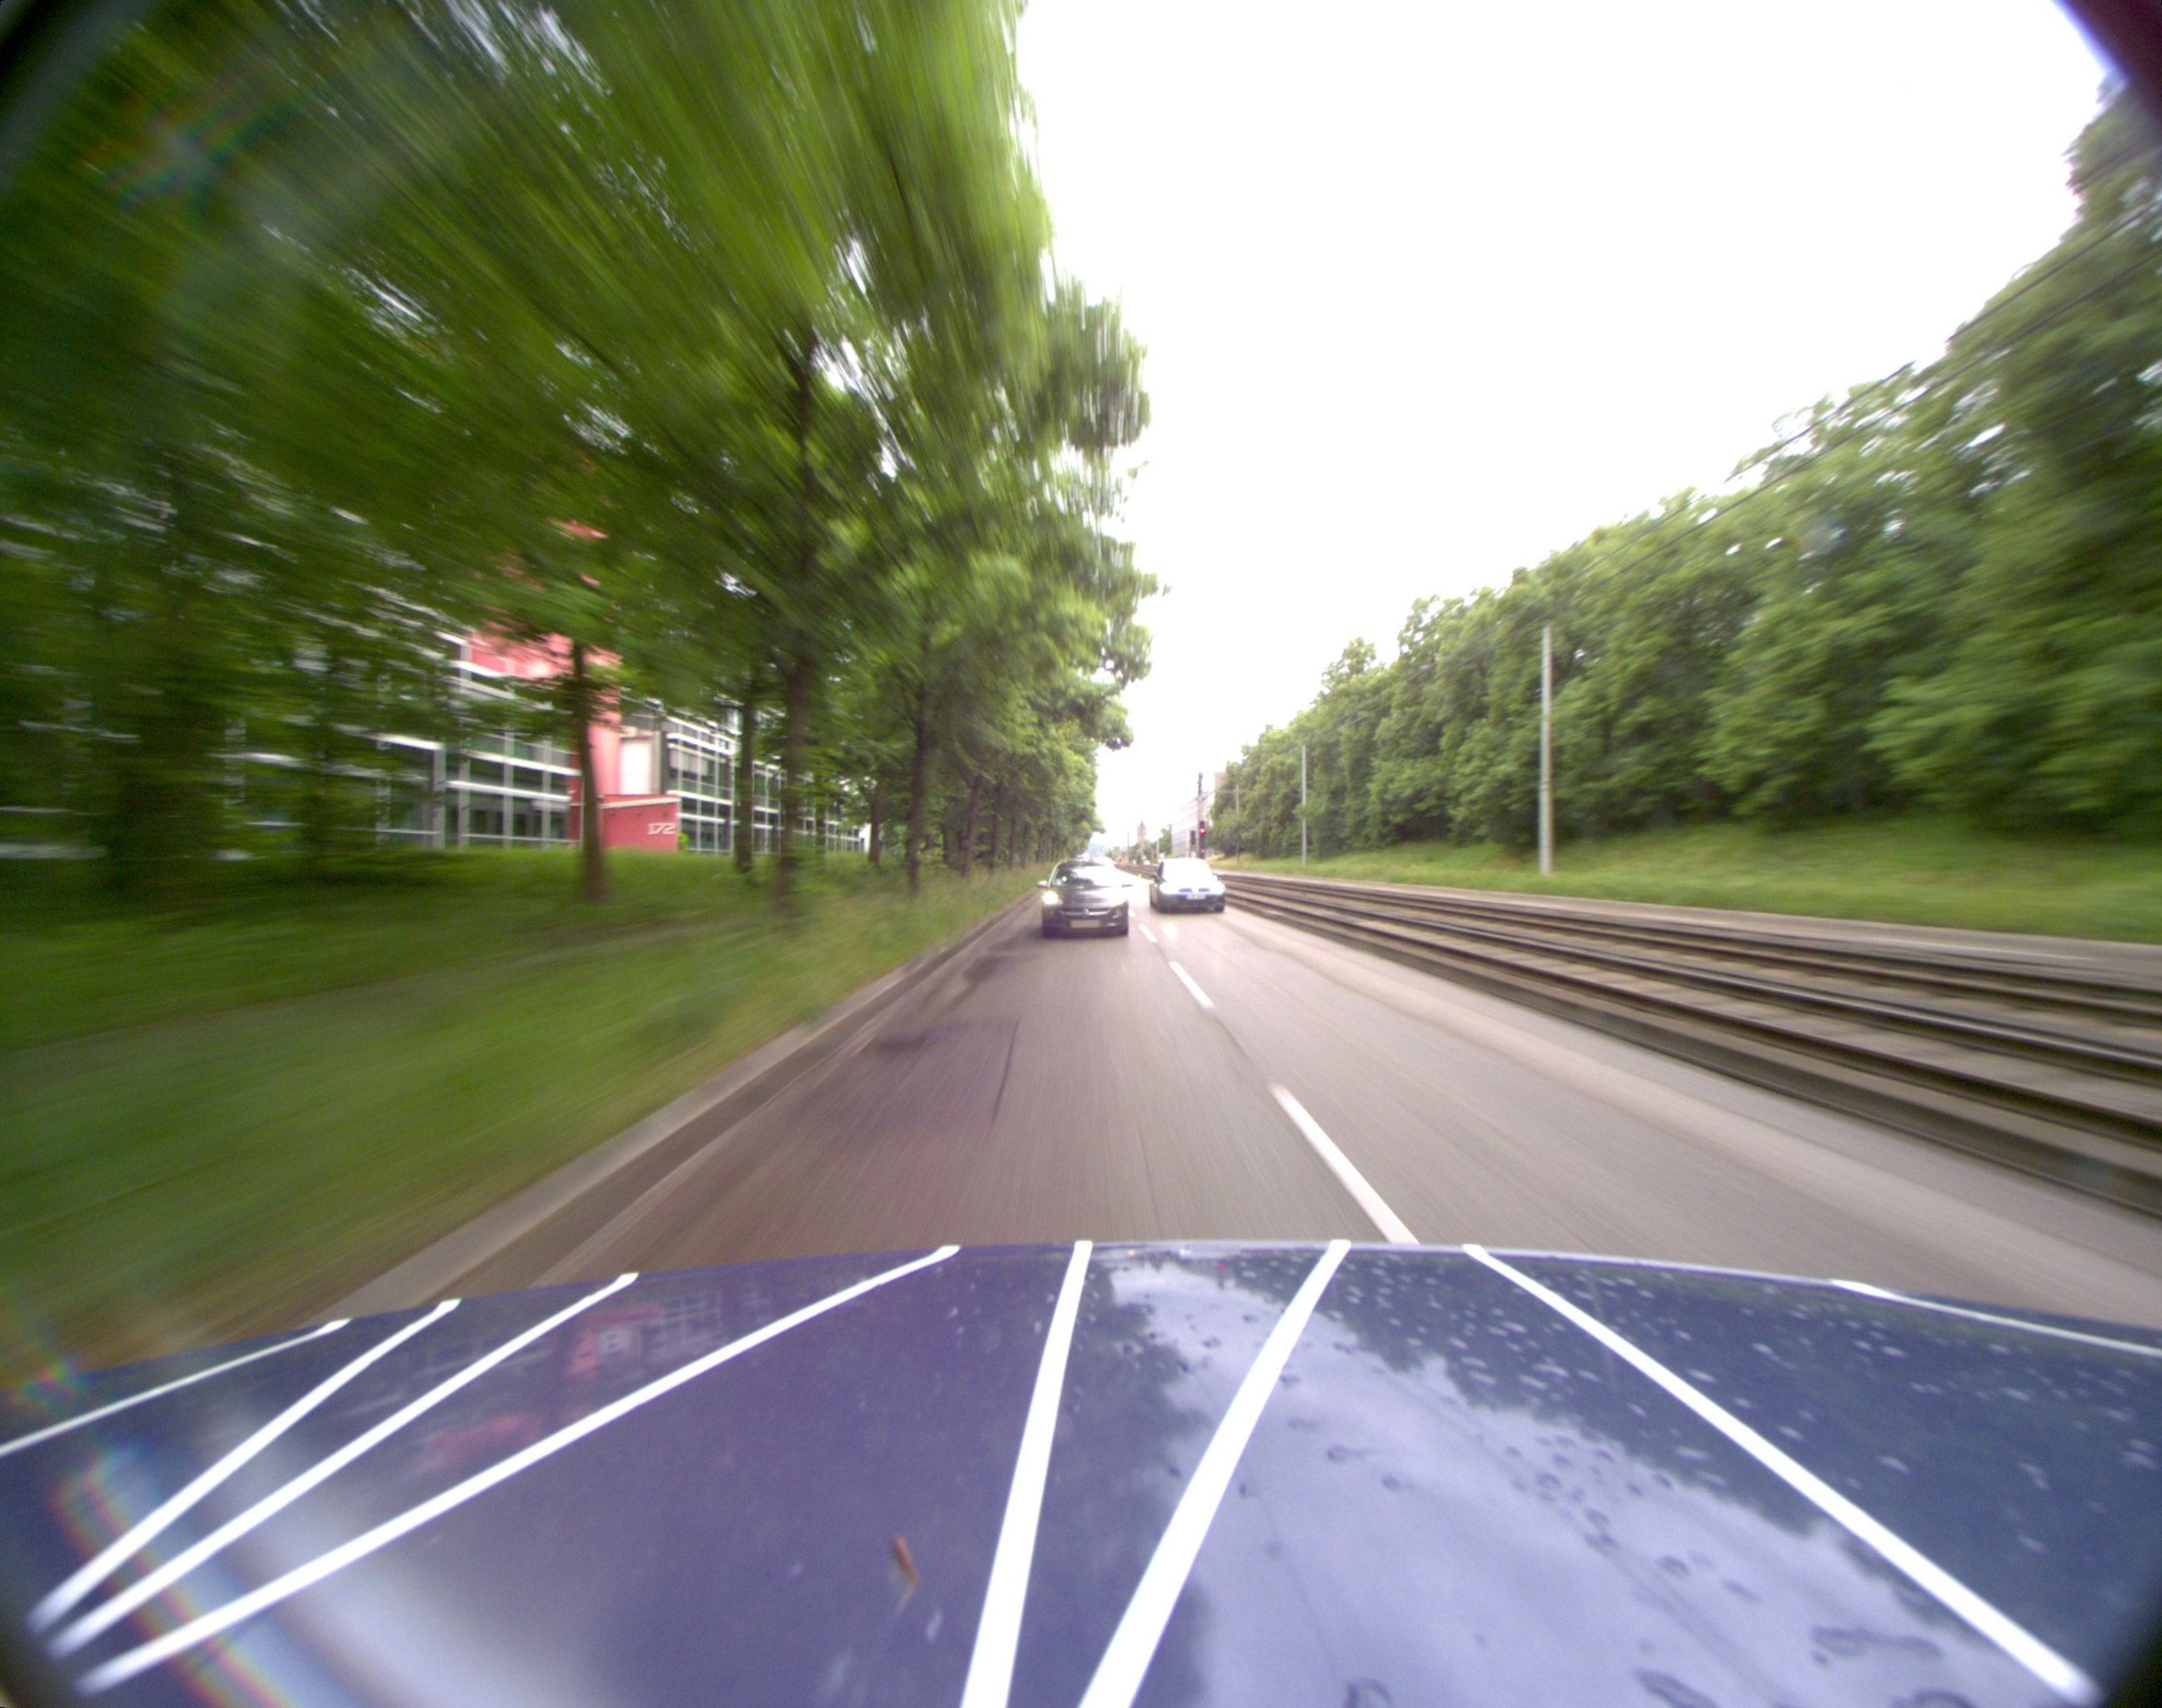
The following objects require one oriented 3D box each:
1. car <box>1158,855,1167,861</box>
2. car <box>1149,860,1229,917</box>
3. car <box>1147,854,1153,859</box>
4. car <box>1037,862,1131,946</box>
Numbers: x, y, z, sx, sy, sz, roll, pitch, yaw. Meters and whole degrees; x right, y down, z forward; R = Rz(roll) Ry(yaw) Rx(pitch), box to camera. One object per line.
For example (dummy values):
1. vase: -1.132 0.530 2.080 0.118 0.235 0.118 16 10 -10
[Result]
1. car: 19.164 1.004 178.761 1.480 1.427 3.909 2 0 1
2. car: 2.965 0.903 21.597 1.770 1.439 3.833 0 0 0
3. car: 22.417 0.877 245.889 1.657 1.520 4.381 0 0 1
4. car: 0.116 0.947 16.233 1.698 1.439 4.420 -2 0 2
